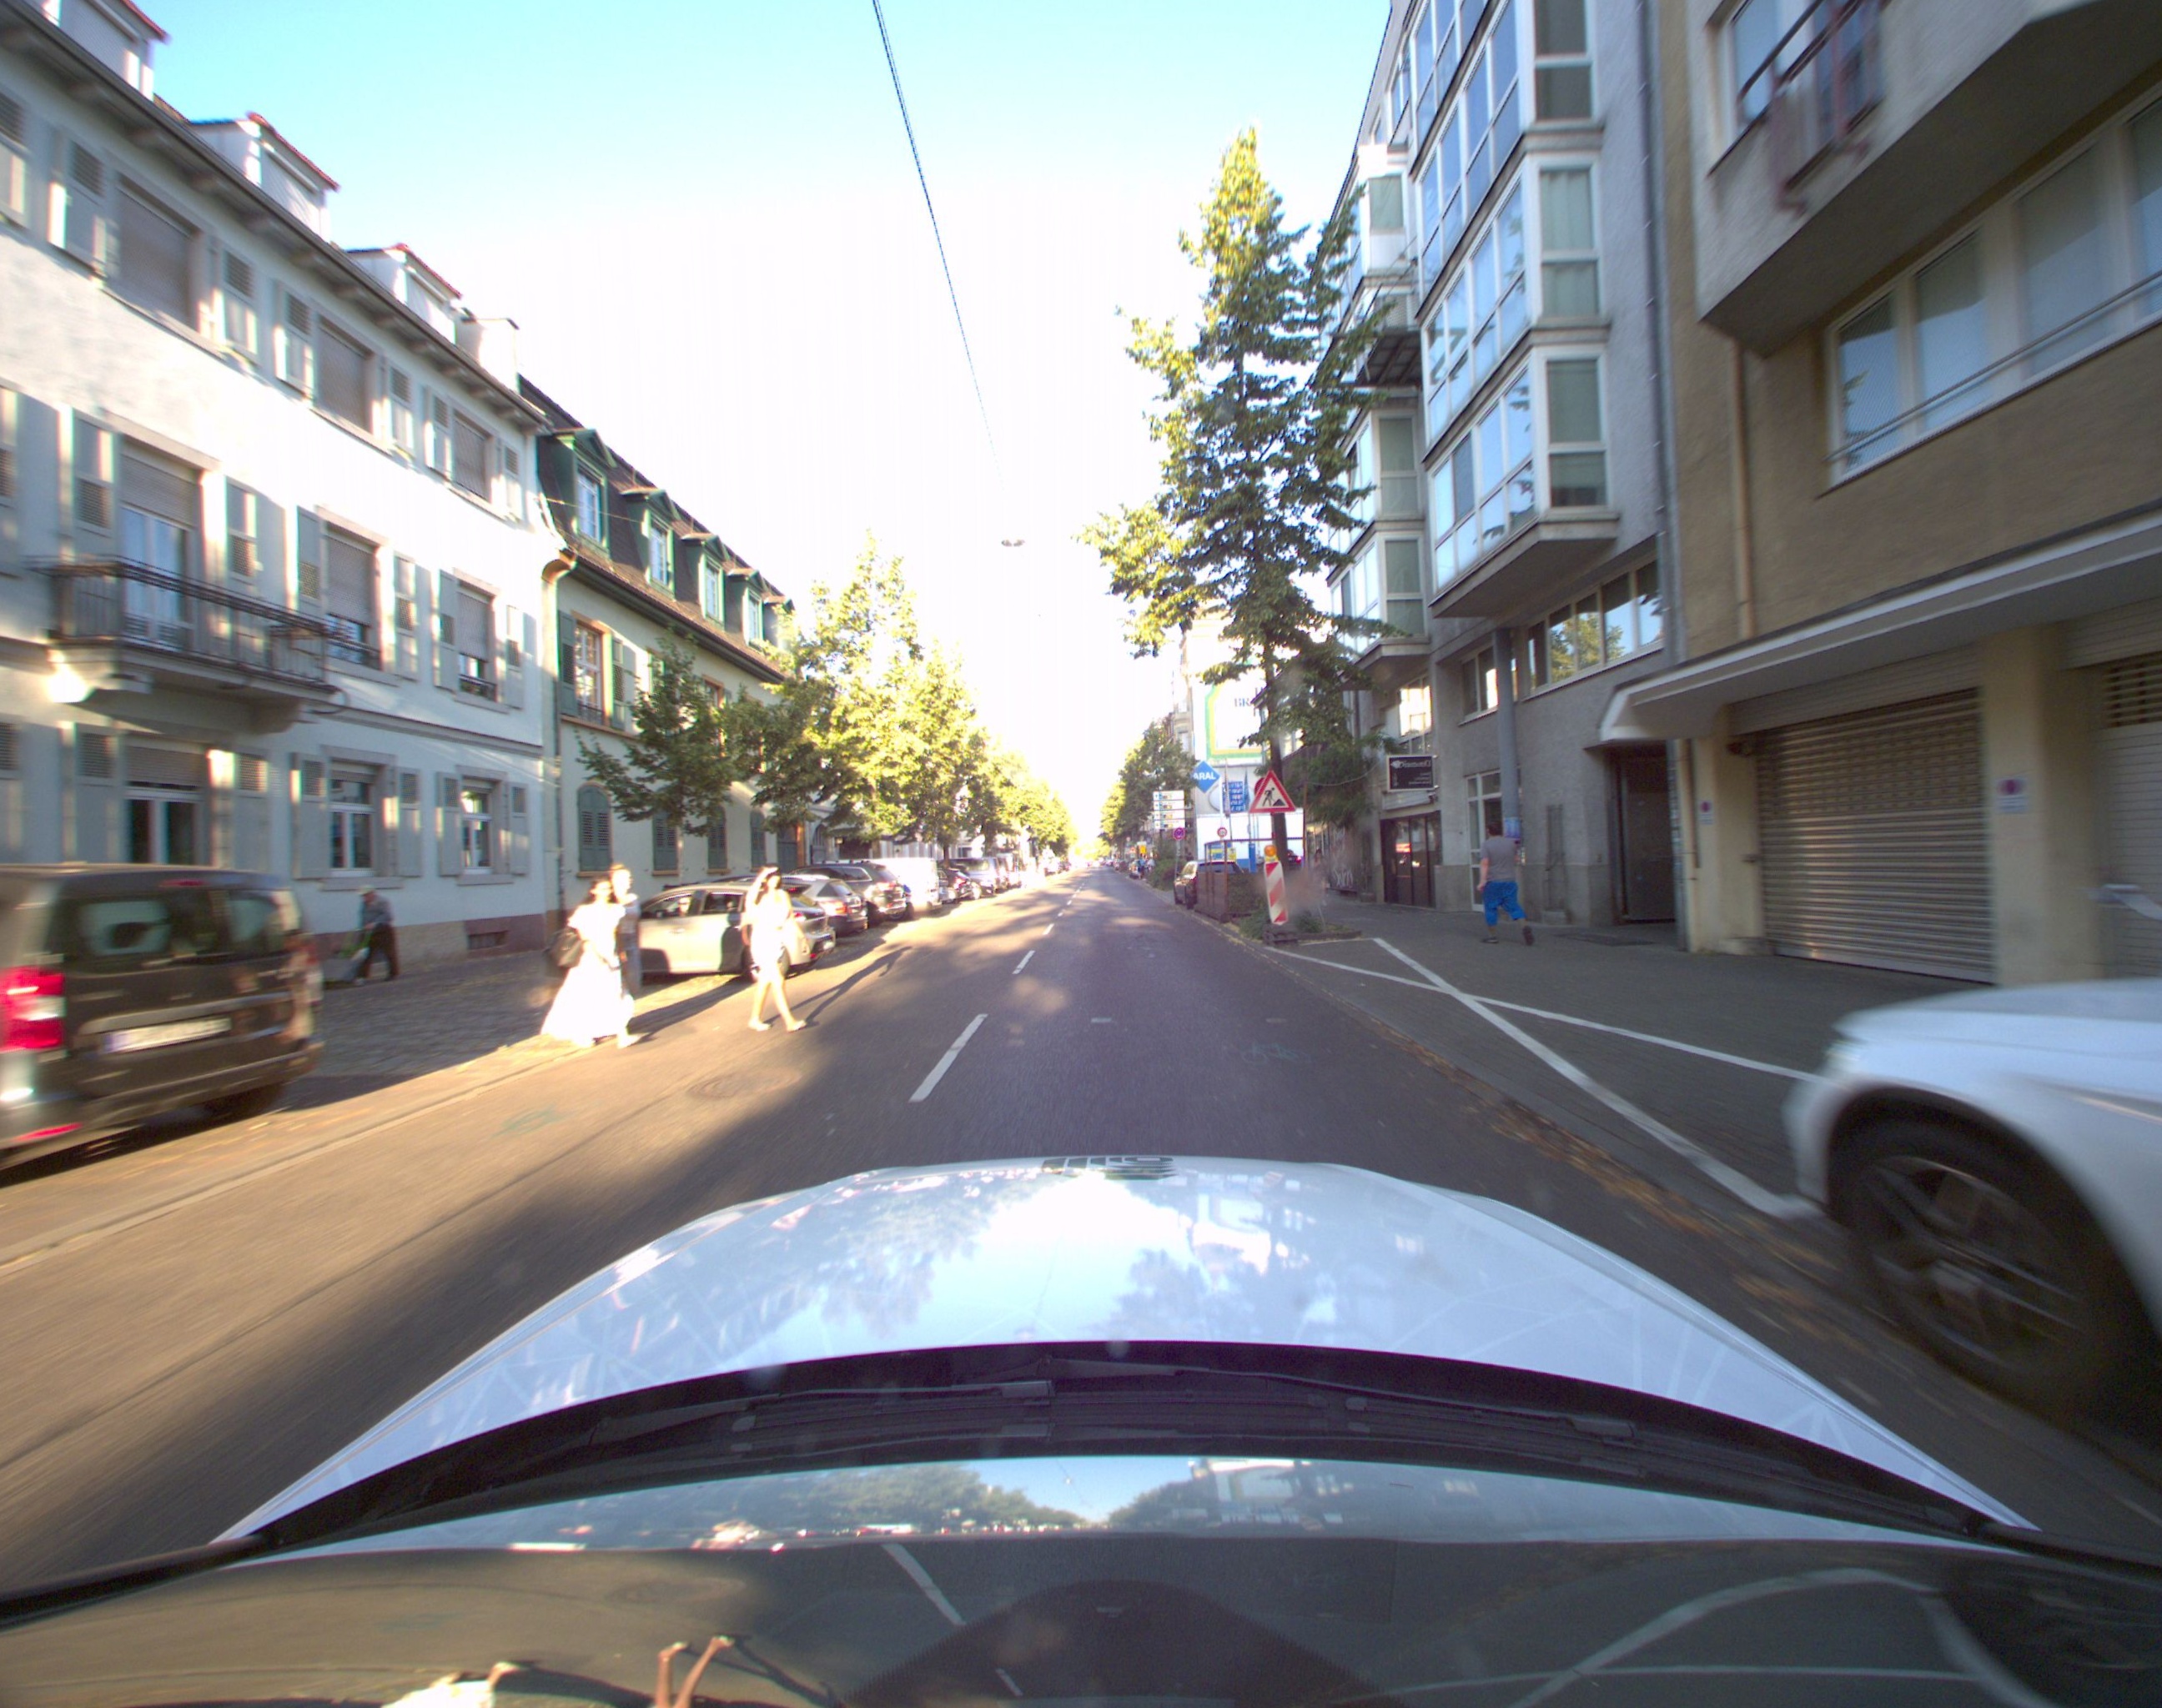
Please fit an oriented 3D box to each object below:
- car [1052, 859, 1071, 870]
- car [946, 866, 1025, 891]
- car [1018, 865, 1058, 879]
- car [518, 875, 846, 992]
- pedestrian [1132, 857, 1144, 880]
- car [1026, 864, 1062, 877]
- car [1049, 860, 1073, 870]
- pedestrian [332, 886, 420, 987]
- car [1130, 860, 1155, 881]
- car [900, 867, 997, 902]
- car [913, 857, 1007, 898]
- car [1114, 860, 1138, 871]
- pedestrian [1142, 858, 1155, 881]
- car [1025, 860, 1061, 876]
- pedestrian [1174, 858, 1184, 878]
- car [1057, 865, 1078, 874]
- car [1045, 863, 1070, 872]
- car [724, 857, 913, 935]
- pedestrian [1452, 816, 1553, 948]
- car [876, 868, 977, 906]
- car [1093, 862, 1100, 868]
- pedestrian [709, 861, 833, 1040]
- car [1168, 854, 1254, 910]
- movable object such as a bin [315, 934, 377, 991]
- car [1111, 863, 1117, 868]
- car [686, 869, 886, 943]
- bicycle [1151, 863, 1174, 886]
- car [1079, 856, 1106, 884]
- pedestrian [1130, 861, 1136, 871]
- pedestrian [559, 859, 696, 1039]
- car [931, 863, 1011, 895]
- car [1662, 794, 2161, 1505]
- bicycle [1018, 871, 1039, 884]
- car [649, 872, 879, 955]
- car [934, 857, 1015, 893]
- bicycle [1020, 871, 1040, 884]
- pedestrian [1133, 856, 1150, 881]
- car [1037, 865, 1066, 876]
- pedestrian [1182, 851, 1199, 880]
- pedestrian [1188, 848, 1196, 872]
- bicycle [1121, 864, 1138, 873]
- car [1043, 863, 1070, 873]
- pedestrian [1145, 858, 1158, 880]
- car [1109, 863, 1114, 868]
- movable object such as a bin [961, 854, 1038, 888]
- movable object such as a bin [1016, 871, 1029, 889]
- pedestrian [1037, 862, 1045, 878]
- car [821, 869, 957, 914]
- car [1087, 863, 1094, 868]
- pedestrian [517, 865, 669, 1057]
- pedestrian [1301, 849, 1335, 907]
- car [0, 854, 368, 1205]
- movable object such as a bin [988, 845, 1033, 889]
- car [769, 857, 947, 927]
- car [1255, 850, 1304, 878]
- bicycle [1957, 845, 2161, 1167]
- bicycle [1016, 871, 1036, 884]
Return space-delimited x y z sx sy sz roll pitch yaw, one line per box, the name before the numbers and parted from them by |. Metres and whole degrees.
car | -4.607 2.367 191.063 4.426 2.435 1.919 -1 -1 1
car | -5.948 1.515 50.952 4.574 1.470 1.894 -1 -1 3
car | -5.015 2.073 95.128 4.532 1.541 1.811 -1 -1 0
car | -5.843 1.133 12.302 4.047 1.461 1.684 -2 -1 -2
pedestrian | 4.487 1.137 64.220 0.677 1.754 0.822 -2 -1 -9
car | -4.855 2.206 108.115 4.554 1.698 2.061 -1 -1 1
car | -3.734 2.005 153.595 4.426 1.759 1.919 -1 -1 1
pedestrian | -11.228 1.286 12.992 0.694 1.521 0.796 -1 -1 0
car | 5.061 1.367 67.369 1.681 1.575 4.014 -4 -1 1
car | -6.181 1.405 38.363 4.318 1.501 1.839 -1 -1 -4
car | -6.269 1.199 42.470 4.467 1.976 2.069 -2 -1 1
car | 6.843 1.769 123.632 1.654 1.588 3.846 -2 -1 44
pedestrian | 5.378 1.234 64.486 0.678 1.706 0.821 -4 -1 -13
car | -4.881 1.851 105.350 4.556 1.962 1.991 -1 -1 0
pedestrian | 7.794 1.129 64.686 0.656 1.562 0.701 -4 -1 1
car | -3.032 3.433 180.941 4.426 1.960 1.919 -1 -1 1
car | -4.202 2.500 147.086 4.426 1.523 1.919 -1 -1 1
car | -7.011 1.106 22.056 4.412 1.870 1.894 -2 -1 1
pedestrian | 6.116 0.394 11.877 0.854 1.794 0.996 -3 -1 -2
car | -6.630 1.395 35.281 3.906 1.501 1.907 -1 -1 3
car | 4.350 3.183 231.329 1.745 1.540 3.305 -2 -1 2
pedestrian | -3.034 0.909 8.054 0.824 1.638 0.828 -3 -1 2
car | 4.009 0.851 25.959 1.823 1.488 4.847 -4 -1 -1
movable object such as a bin | -11.150 1.636 12.368 0.446 0.797 0.533 -1 -1 0
car | 8.274 2.867 203.445 1.507 1.276 3.305 -2 -1 2
car | -7.029 1.220 19.704 4.020 1.555 1.966 -2 -1 3
bicycle | 4.594 1.153 45.717 0.478 1.143 1.691 -5 -1 32
car | 0.815 1.104 57.528 1.702 1.823 4.014 -4 -1 1
pedestrian | 6.828 1.568 106.914 0.724 1.378 0.781 -2 -1 1
pedestrian | -4.740 0.960 8.564 0.918 1.759 0.762 -3 -1 2
car | -6.081 1.366 45.187 4.114 1.637 1.861 -1 -1 1
car | 3.282 0.602 0.942 1.872 1.574 4.693 -4 -1 2
bicycle | -4.455 1.975 69.471 1.673 1.079 0.445 0 -2 8
car | -6.573 1.214 17.233 4.024 1.484 1.963 -2 -1 0
car | -6.193 1.229 47.821 4.470 1.976 1.964 -1 -1 -1
bicycle | -4.412 1.995 70.057 1.673 1.079 0.445 0 -2 8
pedestrian | 4.566 1.091 61.468 1.013 1.825 0.778 -4 -1 -9
car | -4.634 2.634 129.511 4.426 1.568 1.919 -1 -1 1
pedestrian | 7.331 0.795 54.665 0.820 1.854 1.097 -4 -1 0
pedestrian | 8.857 0.472 65.026 0.460 1.875 0.499 -2 -1 -14
bicycle | 5.852 1.794 99.030 1.935 1.074 0.710 -2 -1 33
car | -4.119 2.344 136.210 4.426 1.449 1.919 -1 -1 1
pedestrian | 5.522 1.161 63.877 0.657 1.700 0.660 -4 -1 -43
car | 8.277 3.195 221.453 1.507 1.263 3.305 -2 -1 2
movable object such as a bin | -6.290 1.295 63.489 2.284 2.495 5.789 -3 -1 44
movable object such as a bin | -3.773 1.699 52.900 0.687 1.105 0.884 -3 -1 3
pedestrian | -4.330 1.770 87.896 0.706 1.686 0.836 -2 -1 10
car | -6.946 1.332 29.692 4.459 1.485 1.735 -1 -1 3
car | 2.937 3.545 249.668 1.745 1.540 3.305 -2 -1 2
pedestrian | -4.618 0.979 7.761 0.918 1.695 0.762 -3 -1 2
pedestrian | 6.384 0.643 21.973 0.608 1.525 0.773 -3 -1 1
car | -7.394 0.985 5.190 4.121 1.806 1.808 -2 -1 2
movable object such as a bin | -5.066 0.901 59.214 2.615 2.969 5.304 -2 -1 1
car | -6.769 1.142 25.121 4.853 1.908 1.974 -2 -1 1
car | 11.554 0.632 47.711 1.728 1.431 4.909 -3 -2 1
bicycle | 4.706 0.608 2.966 0.772 1.262 2.051 -4 -1 2
bicycle | -4.626 1.959 68.882 1.677 1.079 0.444 1 -2 0
